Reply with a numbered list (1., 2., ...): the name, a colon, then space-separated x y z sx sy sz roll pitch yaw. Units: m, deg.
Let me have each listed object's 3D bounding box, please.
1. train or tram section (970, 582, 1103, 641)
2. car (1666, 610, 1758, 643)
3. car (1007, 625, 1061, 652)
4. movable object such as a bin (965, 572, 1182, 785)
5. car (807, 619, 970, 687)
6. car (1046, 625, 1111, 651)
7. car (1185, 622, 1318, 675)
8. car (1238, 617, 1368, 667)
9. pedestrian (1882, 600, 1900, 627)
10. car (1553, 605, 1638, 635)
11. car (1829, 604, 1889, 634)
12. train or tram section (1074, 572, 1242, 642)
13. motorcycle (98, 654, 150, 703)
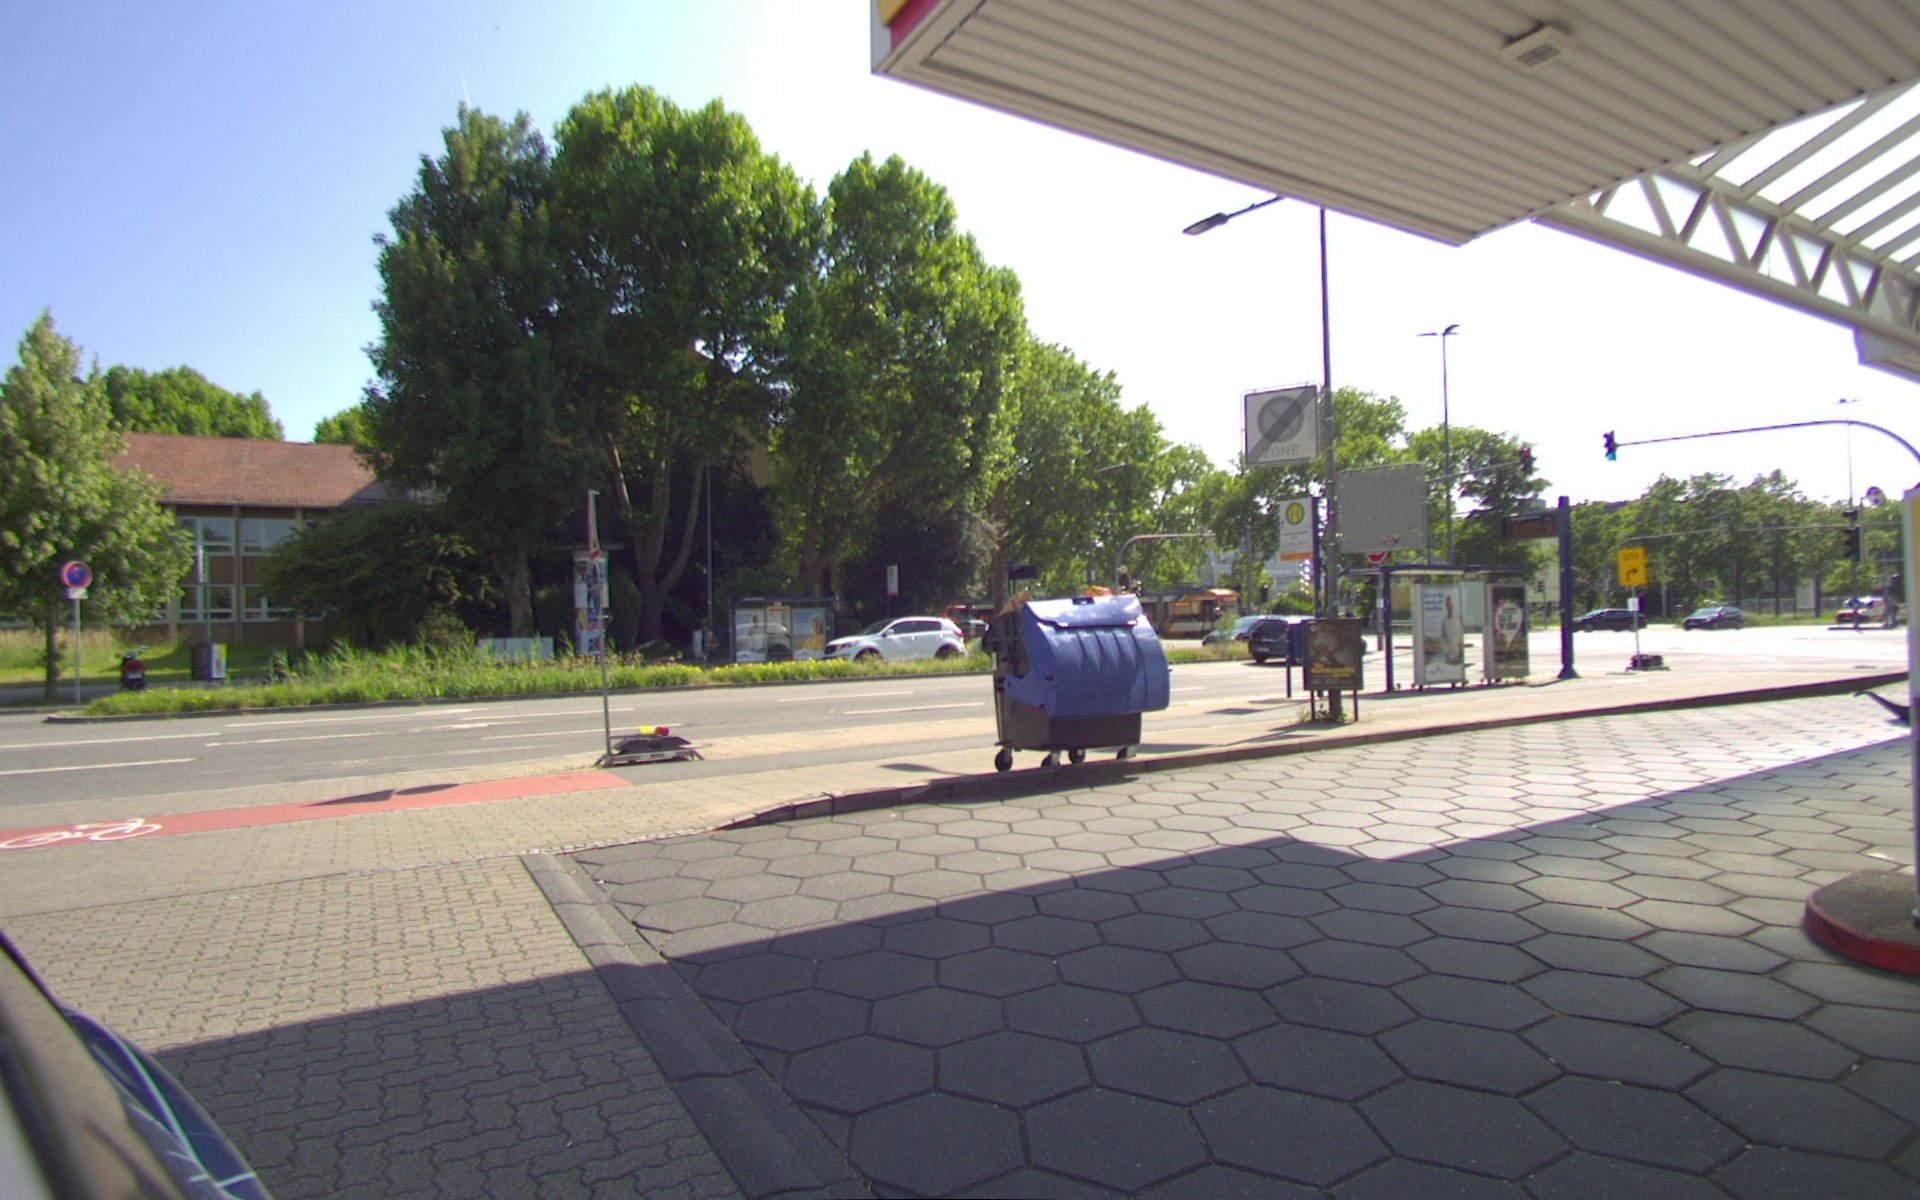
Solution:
1. train or tram section: 6.110 1.164 86.120 2.289 4.524 15.971 0 -2 -31
2. car: 46.908 1.657 63.188 4.149 1.819 2.001 -2 -3 -3
3. car: 5.146 2.703 70.809 1.837 1.702 4.012 0 -4 -30
4. movable object such as a bin: 0.978 0.670 9.023 1.314 1.701 1.347 0 -4 -30
5. car: -2.102 1.514 29.802 4.315 1.782 2.006 -1 -1 -30
6. car: 7.614 2.451 65.178 1.838 1.524 4.008 1 -4 -37
7. car: 10.846 1.779 37.701 4.315 1.782 2.006 -1 -2 -20
8. car: 10.625 1.252 31.290 3.934 1.377 1.690 0 0 -32
9. pedestrian: 51.862 0.757 56.376 0.505 1.480 0.566 0 -2 -35
10. car: 38.831 1.213 61.874 4.002 1.717 1.971 -3 -2 45
11. car: 64.917 1.389 73.058 4.372 2.029 2.005 0 -4 -32
12. train or tram section: 13.881 0.720 73.373 2.289 4.524 14.987 0 -2 -31
13. motorcycle: -19.942 1.857 24.138 1.755 1.122 0.551 -2 -2 36
